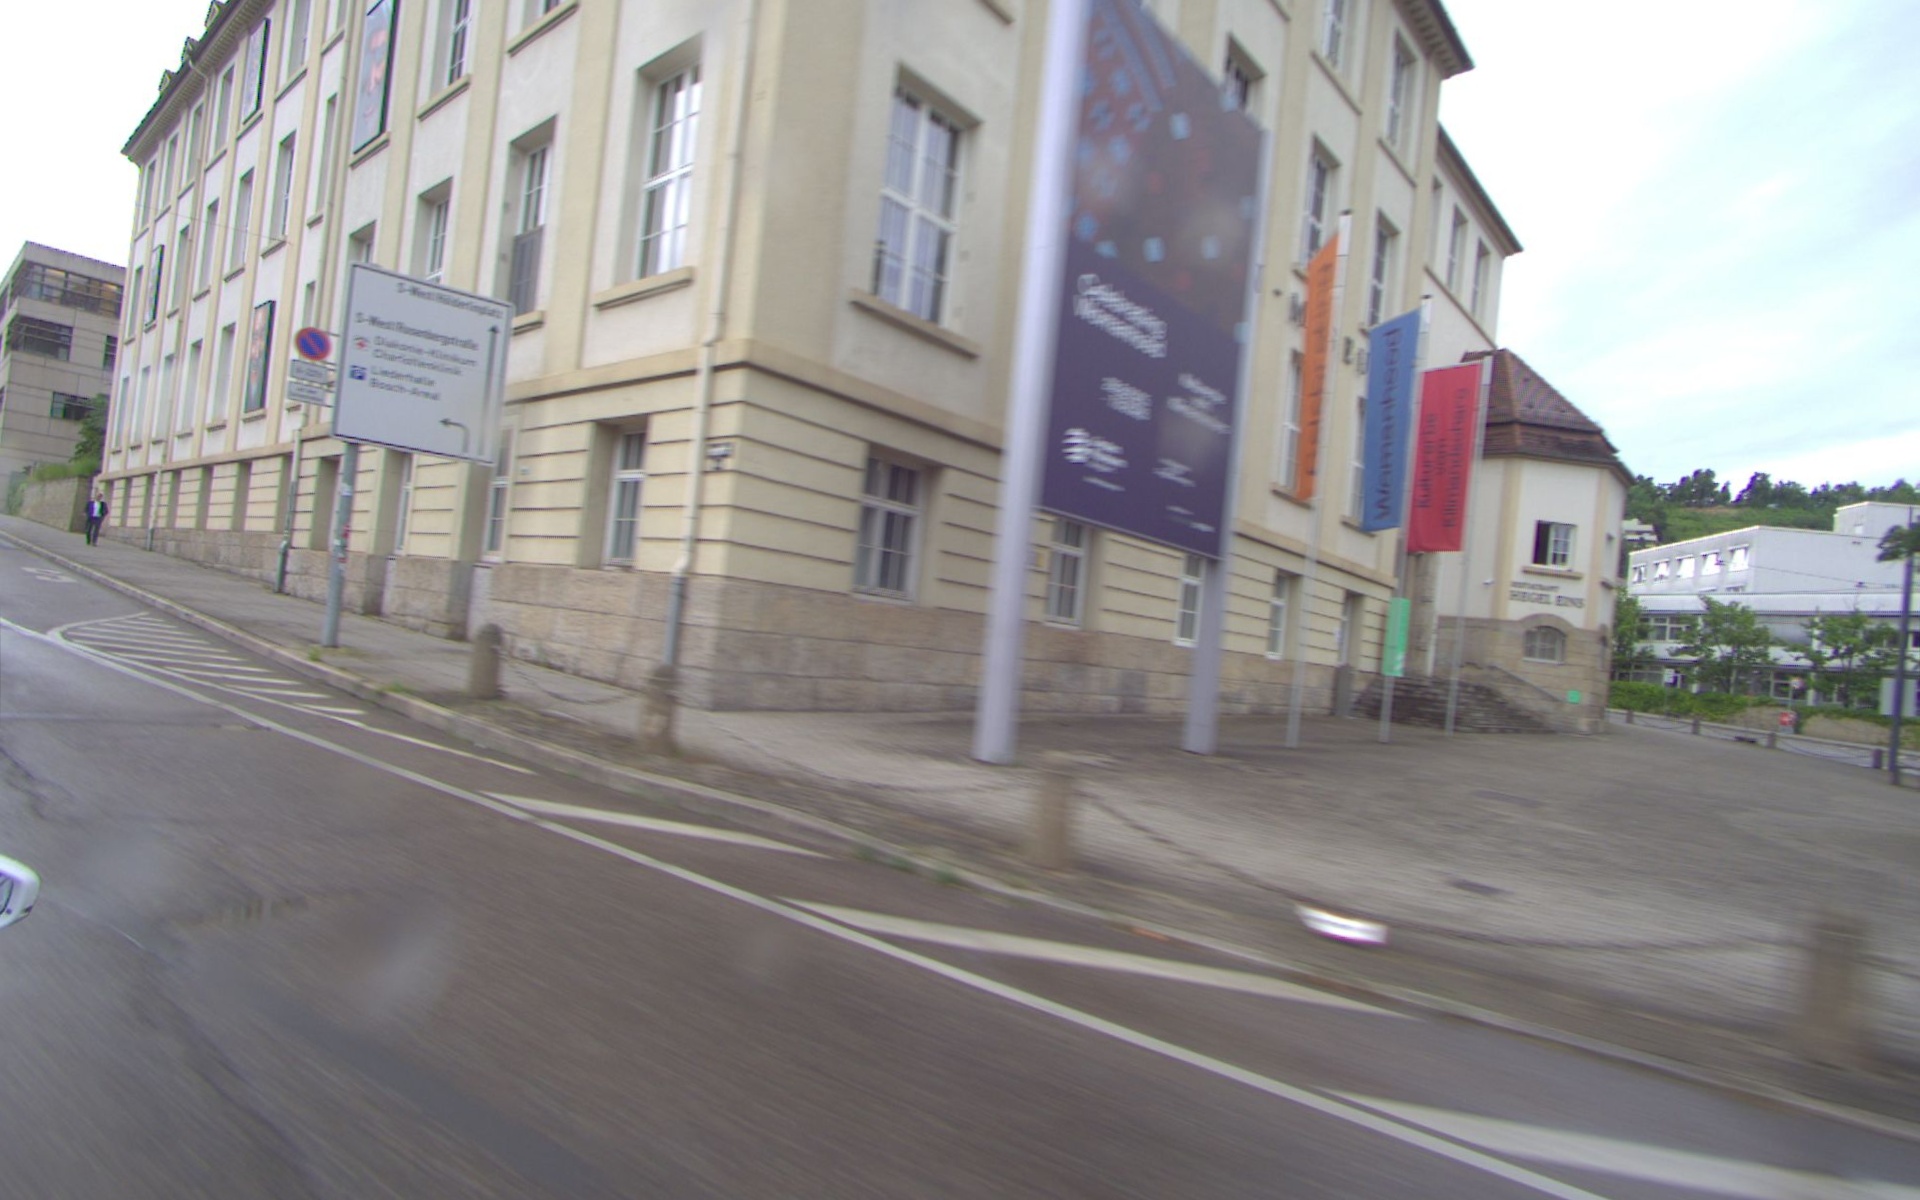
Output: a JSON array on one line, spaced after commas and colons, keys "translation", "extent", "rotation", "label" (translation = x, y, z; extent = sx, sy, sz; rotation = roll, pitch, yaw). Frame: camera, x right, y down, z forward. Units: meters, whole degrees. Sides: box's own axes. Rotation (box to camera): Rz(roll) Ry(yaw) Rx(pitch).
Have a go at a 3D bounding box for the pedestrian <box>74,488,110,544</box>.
[{"translation": [-29.776, -2.883, 34.493], "extent": [0.840, 1.818, 0.669], "rotation": [7, -1, 43], "label": "pedestrian"}]
